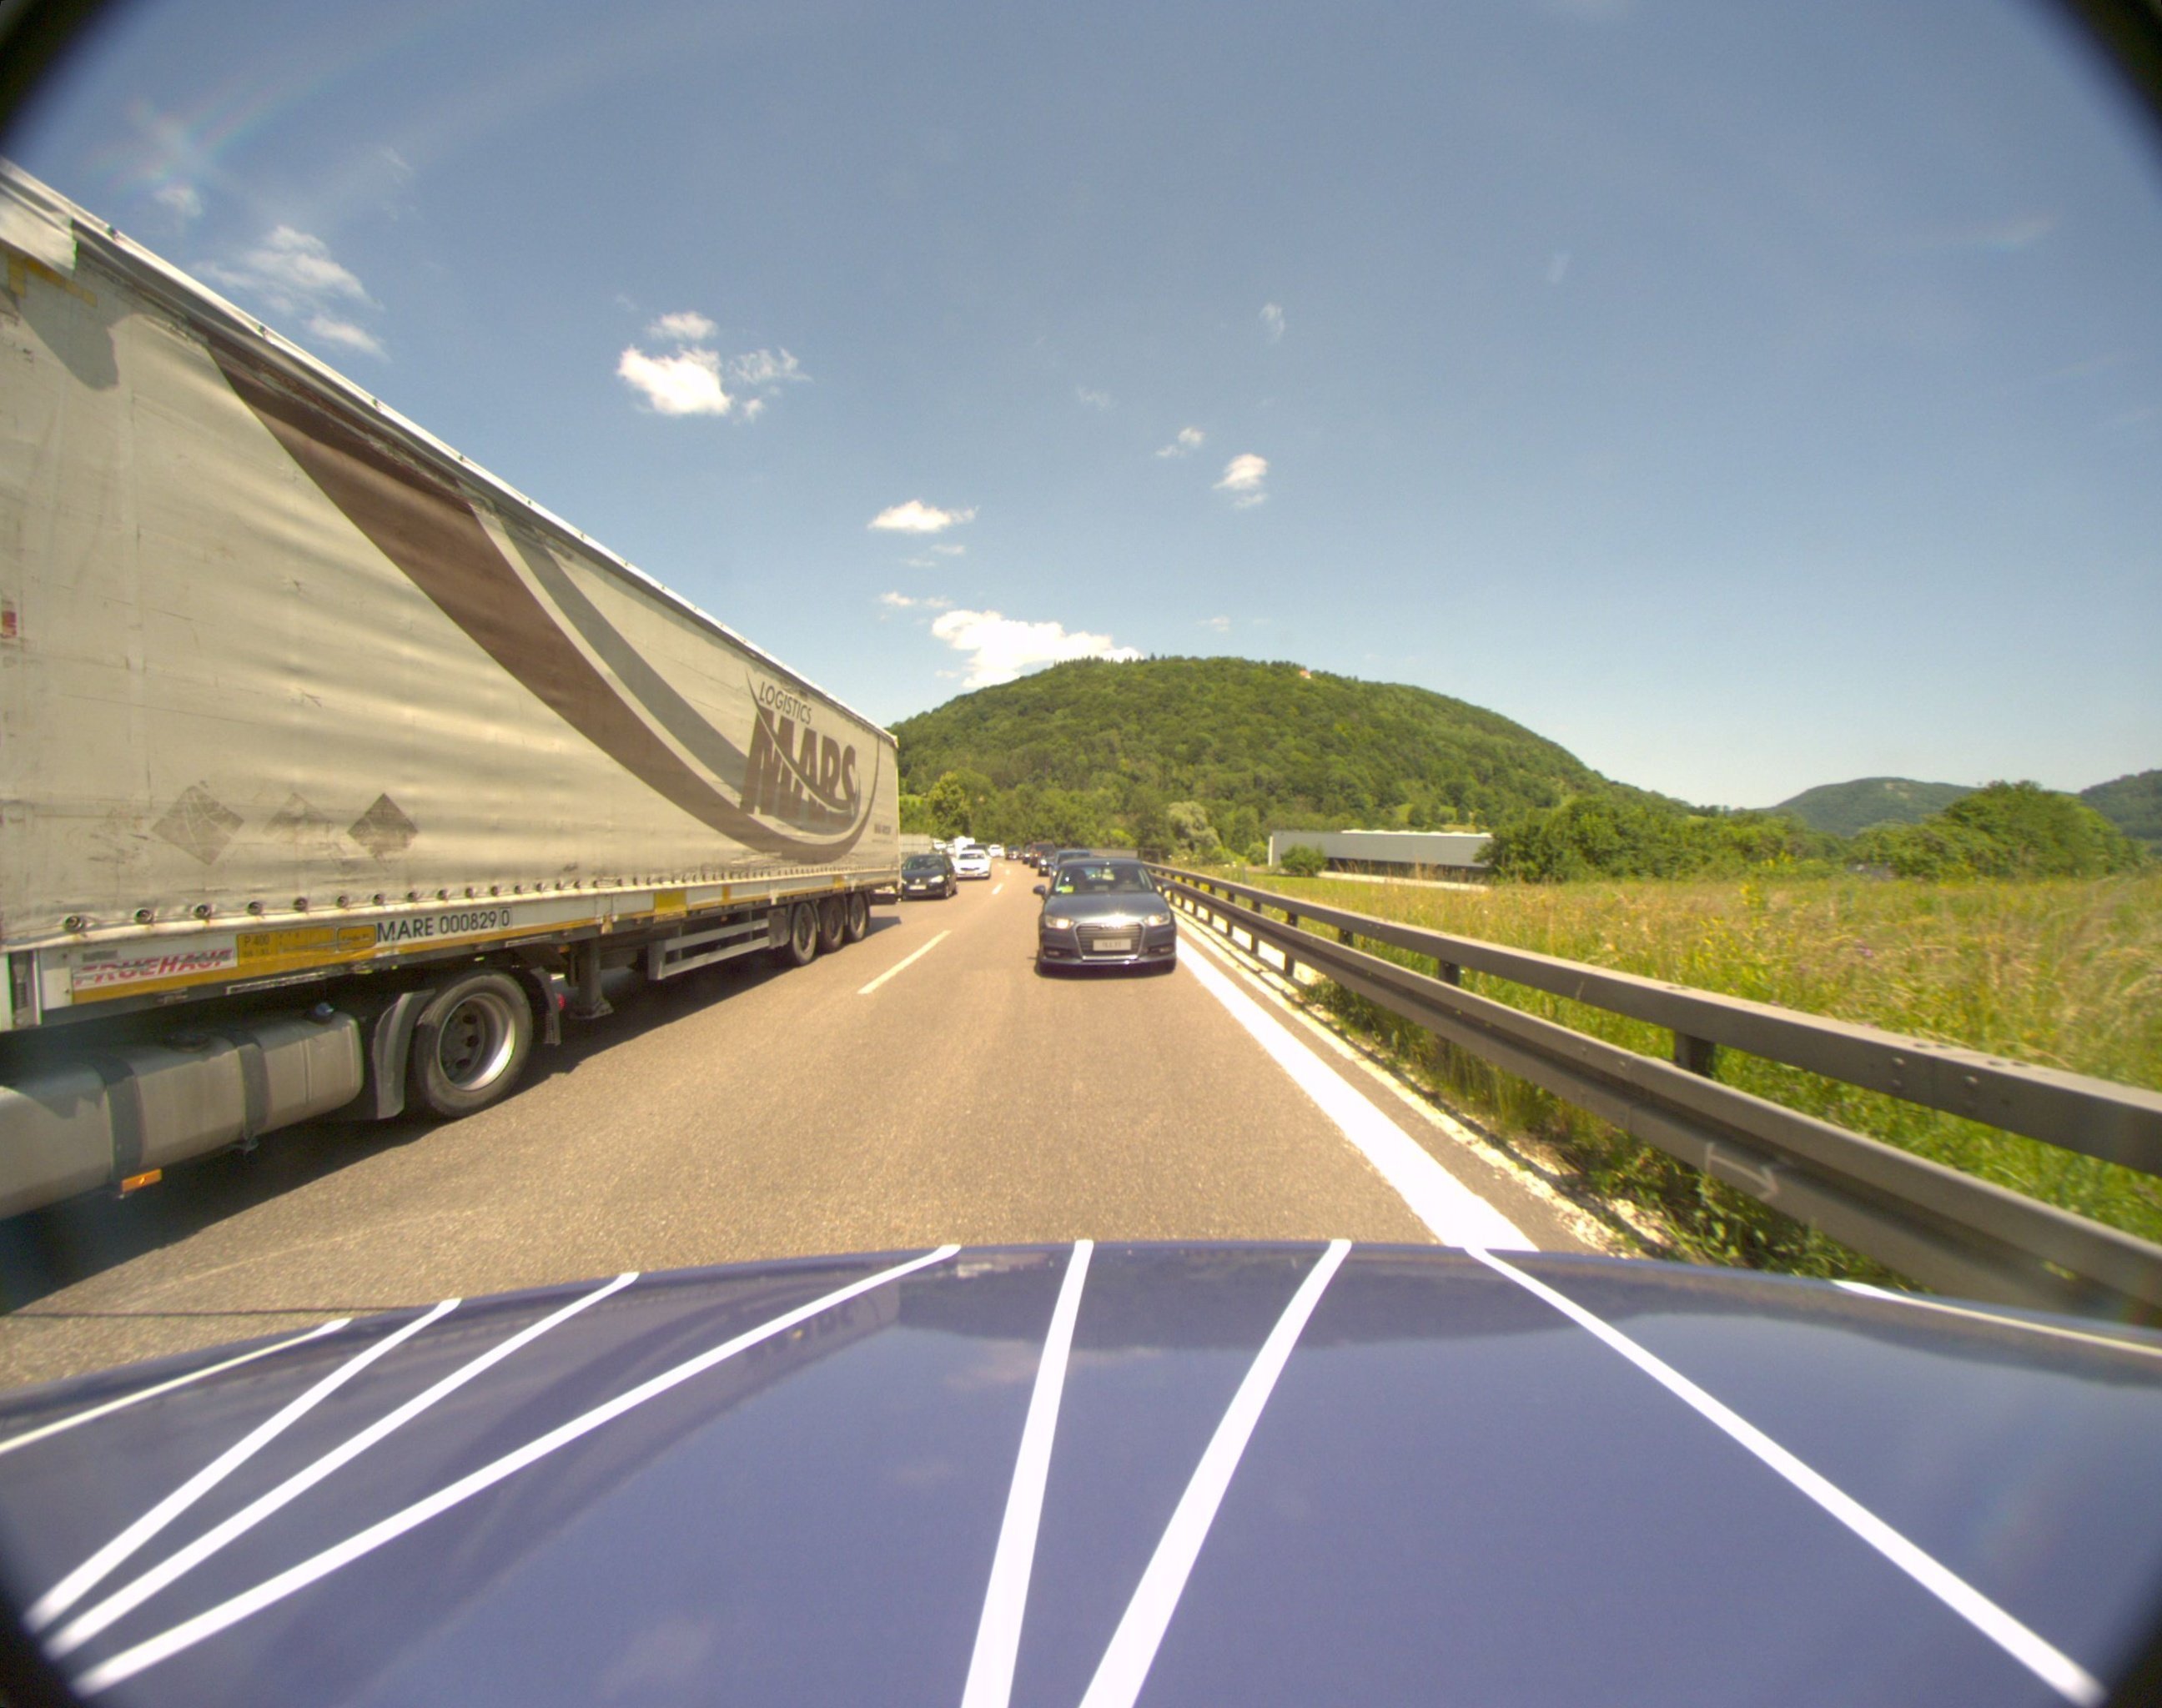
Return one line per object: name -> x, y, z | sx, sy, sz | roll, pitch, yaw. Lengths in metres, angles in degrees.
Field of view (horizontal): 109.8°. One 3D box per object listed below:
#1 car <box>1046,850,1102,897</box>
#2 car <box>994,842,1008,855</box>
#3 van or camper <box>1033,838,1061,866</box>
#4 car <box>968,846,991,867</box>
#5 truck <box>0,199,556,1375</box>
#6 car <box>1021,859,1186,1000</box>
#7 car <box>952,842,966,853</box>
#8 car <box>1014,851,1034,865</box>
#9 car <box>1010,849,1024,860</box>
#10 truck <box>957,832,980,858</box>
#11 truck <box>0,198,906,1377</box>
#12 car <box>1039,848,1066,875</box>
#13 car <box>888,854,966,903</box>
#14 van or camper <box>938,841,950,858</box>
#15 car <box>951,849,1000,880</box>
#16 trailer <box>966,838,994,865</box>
car -> -0.194, 0.602, 25.375 | 1.696, 1.422, 3.463 | -2, 0, 1
car -> -10.460, -0.740, 99.429 | 1.532, 1.627, 3.416 | -4, 0, -9
van or camper -> -2.349, -0.138, 53.624 | 1.818, 1.855, 3.612 | -2, 0, -1
car -> -7.191, 0.161, 54.091 | 1.489, 1.375, 3.736 | 1, 1, -6
truck -> -5.074, -0.222, 2.386 | 2.726, 4.044, 5.753 | -1, 1, 0
car -> 0.273, 0.834, 10.270 | 1.755, 1.382, 4.054 | -2, 1, 1
car -> -18.332, -0.919, 114.268 | 1.699, 1.523, 3.678 | -4, 0, -6
car -> -4.860, 0.290, 65.034 | 1.491, 1.102, 3.213 | -2, 1, -2
car -> -7.105, 0.054, 84.247 | 1.491, 1.102, 3.212 | -2, 1, -5
truck -> -14.307, -1.130, 96.577 | 2.604, 3.089, 6.853 | -4, 0, -8
truck -> -5.111, -0.305, 9.267 | 2.733, 4.044, 13.738 | -1, 1, 0
car -> -1.449, 0.359, 39.486 | 1.287, 1.305, 3.452 | -3, 0, -1
car -> -4.923, 0.751, 24.832 | 1.696, 1.414, 3.838 | -2, 0, 1
van or camper -> -23.679, -0.771, 131.842 | 1.911, 3.010, 4.870 | -1, 0, -9
car -> -5.275, 0.516, 38.511 | 1.907, 1.422, 3.722 | -2, 0, 1
trailer -> -7.671, -0.176, 57.887 | 2.000, 1.958, 3.997 | -1, 1, -6
